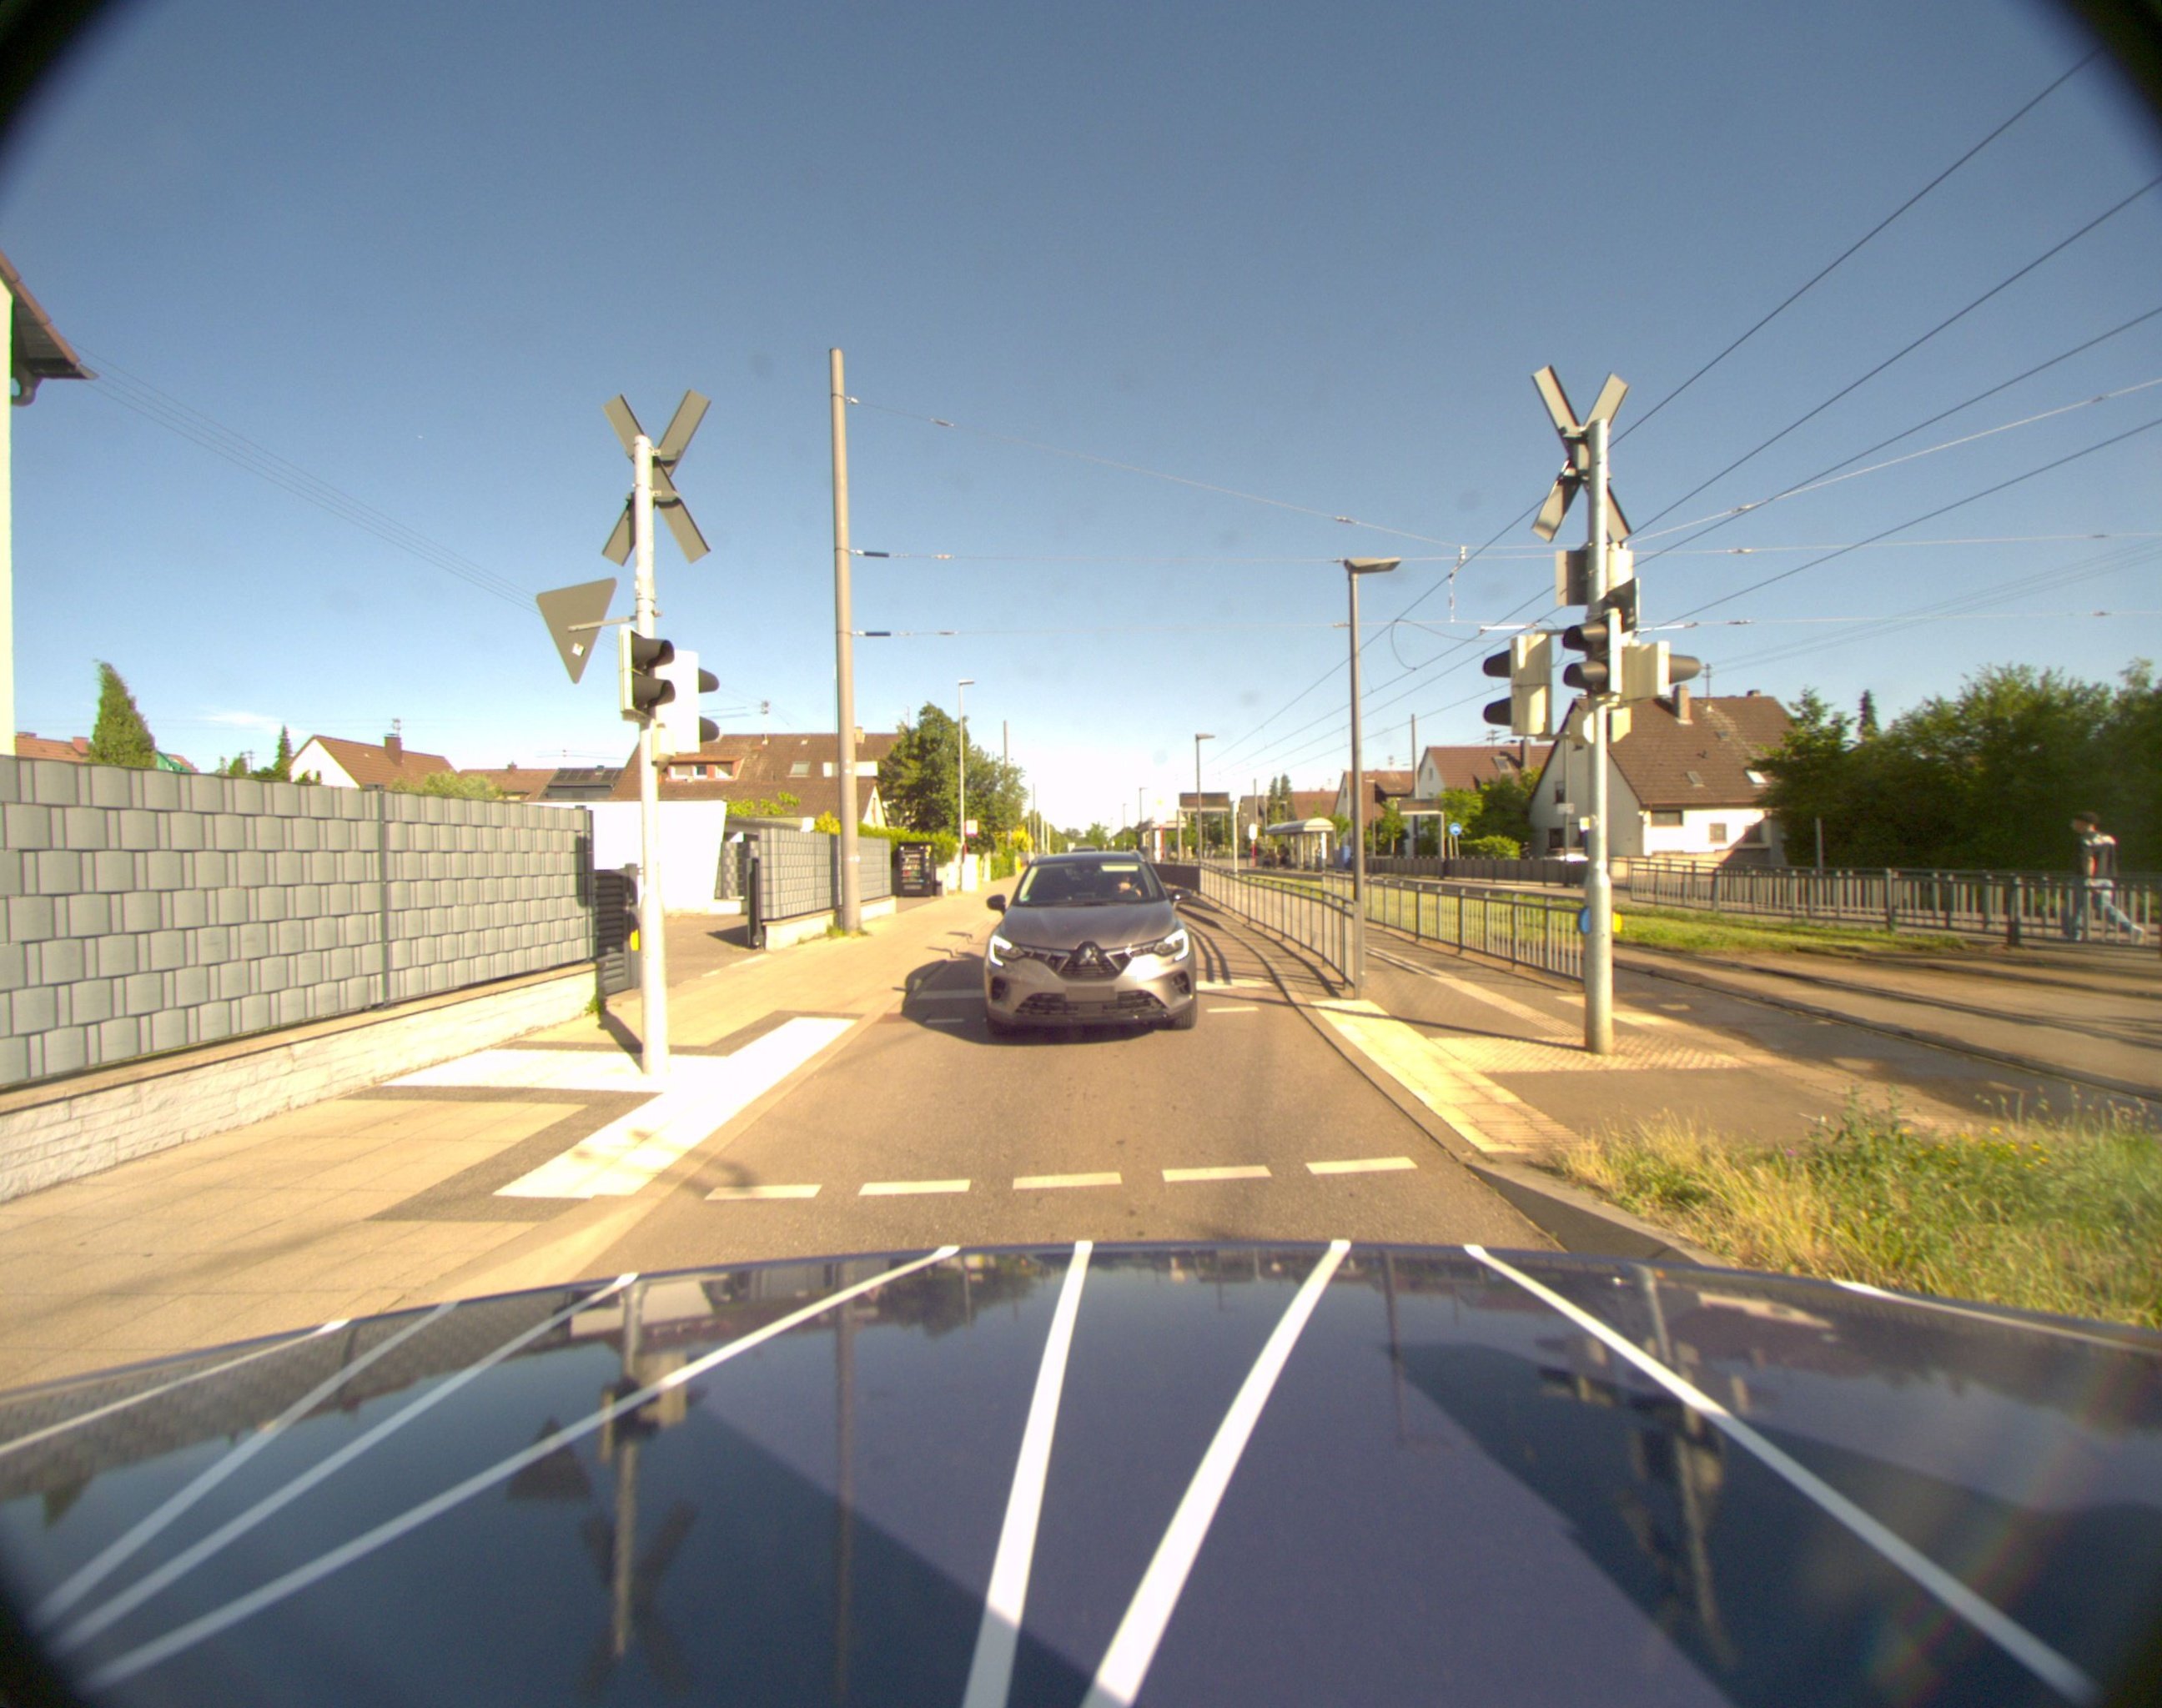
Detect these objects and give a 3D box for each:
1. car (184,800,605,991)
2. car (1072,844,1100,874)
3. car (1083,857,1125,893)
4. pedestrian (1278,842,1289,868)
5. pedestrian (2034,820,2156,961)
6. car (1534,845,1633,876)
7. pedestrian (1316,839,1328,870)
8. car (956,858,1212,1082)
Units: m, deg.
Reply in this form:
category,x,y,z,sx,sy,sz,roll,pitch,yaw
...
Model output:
category,x,y,z,sx,sy,sz,roll,pitch,yaw
car,-9.923,0.537,11.114,4.983,2.418,2.001,-1,2,14
car,0.432,0.383,60.245,2.089,2.226,4.722,-2,0,1
car,0.988,0.866,33.237,1.687,1.379,4.000,-2,0,1
pedestrian,13.488,0.056,50.621,0.534,1.742,0.543,-1,1,0
pedestrian,13.456,0.447,10.098,0.690,1.761,0.824,-4,3,-25
car,26.491,0.335,40.144,3.989,1.526,1.999,-1,0,-3
pedestrian,13.771,0.019,43.488,0.622,1.742,0.442,-1,1,20
car,-0.019,0.867,7.616,1.830,1.570,3.999,-2,0,-1
